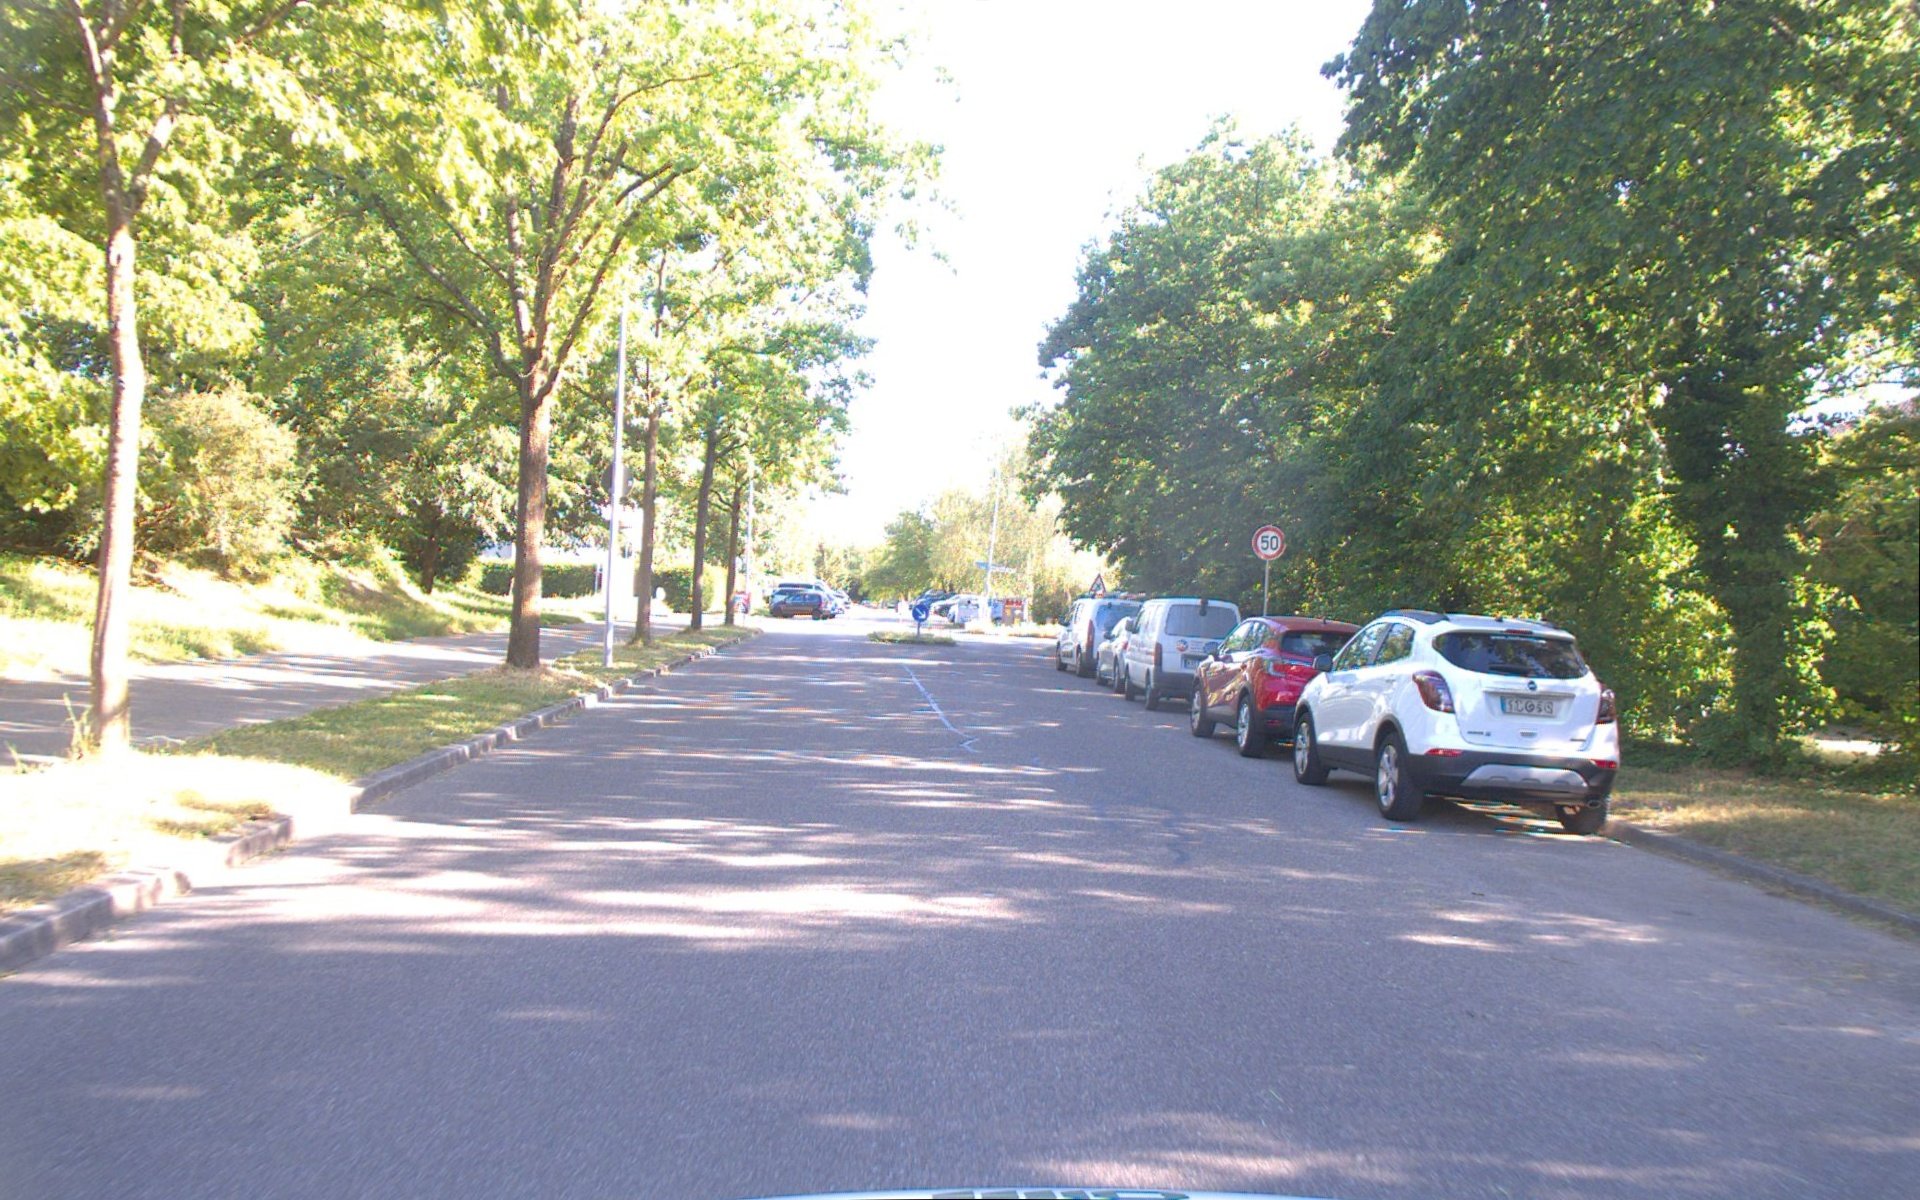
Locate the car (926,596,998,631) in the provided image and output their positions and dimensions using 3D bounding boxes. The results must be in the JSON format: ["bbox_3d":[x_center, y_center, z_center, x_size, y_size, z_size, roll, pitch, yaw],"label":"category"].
[{"bbox_3d":[0.106,0.767,90.972,3.759,1.604,1.689,5,0,4],"label":"car"}]

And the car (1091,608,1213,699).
[{"bbox_3d":[3.725,1.002,32.742,1.658,1.538,4.204,4,0,-3],"label":"car"}]

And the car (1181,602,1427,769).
[{"bbox_3d":[3.976,0.923,19.787,1.741,1.649,4.061,5,0,-4],"label":"car"}]

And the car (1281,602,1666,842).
[{"bbox_3d":[4.233,0.917,14.367,1.741,1.649,4.061,5,0,-4],"label":"car"}]

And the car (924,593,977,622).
[{"bbox_3d":[-0.663,0.575,122.902,3.760,1.827,1.689,5,0,1],"label":"car"}]

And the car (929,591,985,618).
[{"bbox_3d":[-0.192,0.315,116.722,3.760,1.604,1.689,5,0,1],"label":"car"}]

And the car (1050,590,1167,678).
[{"bbox_3d":[3.415,0.737,38.879,1.757,1.816,4.551,4,0,-6],"label":"car"}]

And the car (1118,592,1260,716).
[{"bbox_3d":[3.749,0.842,27.610,1.591,1.803,3.667,4,0,-3],"label":"car"}]

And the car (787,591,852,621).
[{"bbox_3d":[-9.213,0.380,108.489,4.024,1.604,1.958,5,0,-1],"label":"car"}]

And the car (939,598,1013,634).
[{"bbox_3d":[0.884,0.865,88.186,3.759,1.604,1.689,5,0,4],"label":"car"}]

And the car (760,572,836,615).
[{"bbox_3d":[-11.523,-0.456,117.322,5.103,2.666,2.289,5,0,-8],"label":"car"}]

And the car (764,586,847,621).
[{"bbox_3d":[-8.583,0.210,92.205,4.229,1.604,2.047,5,0,4],"label":"car"}]
